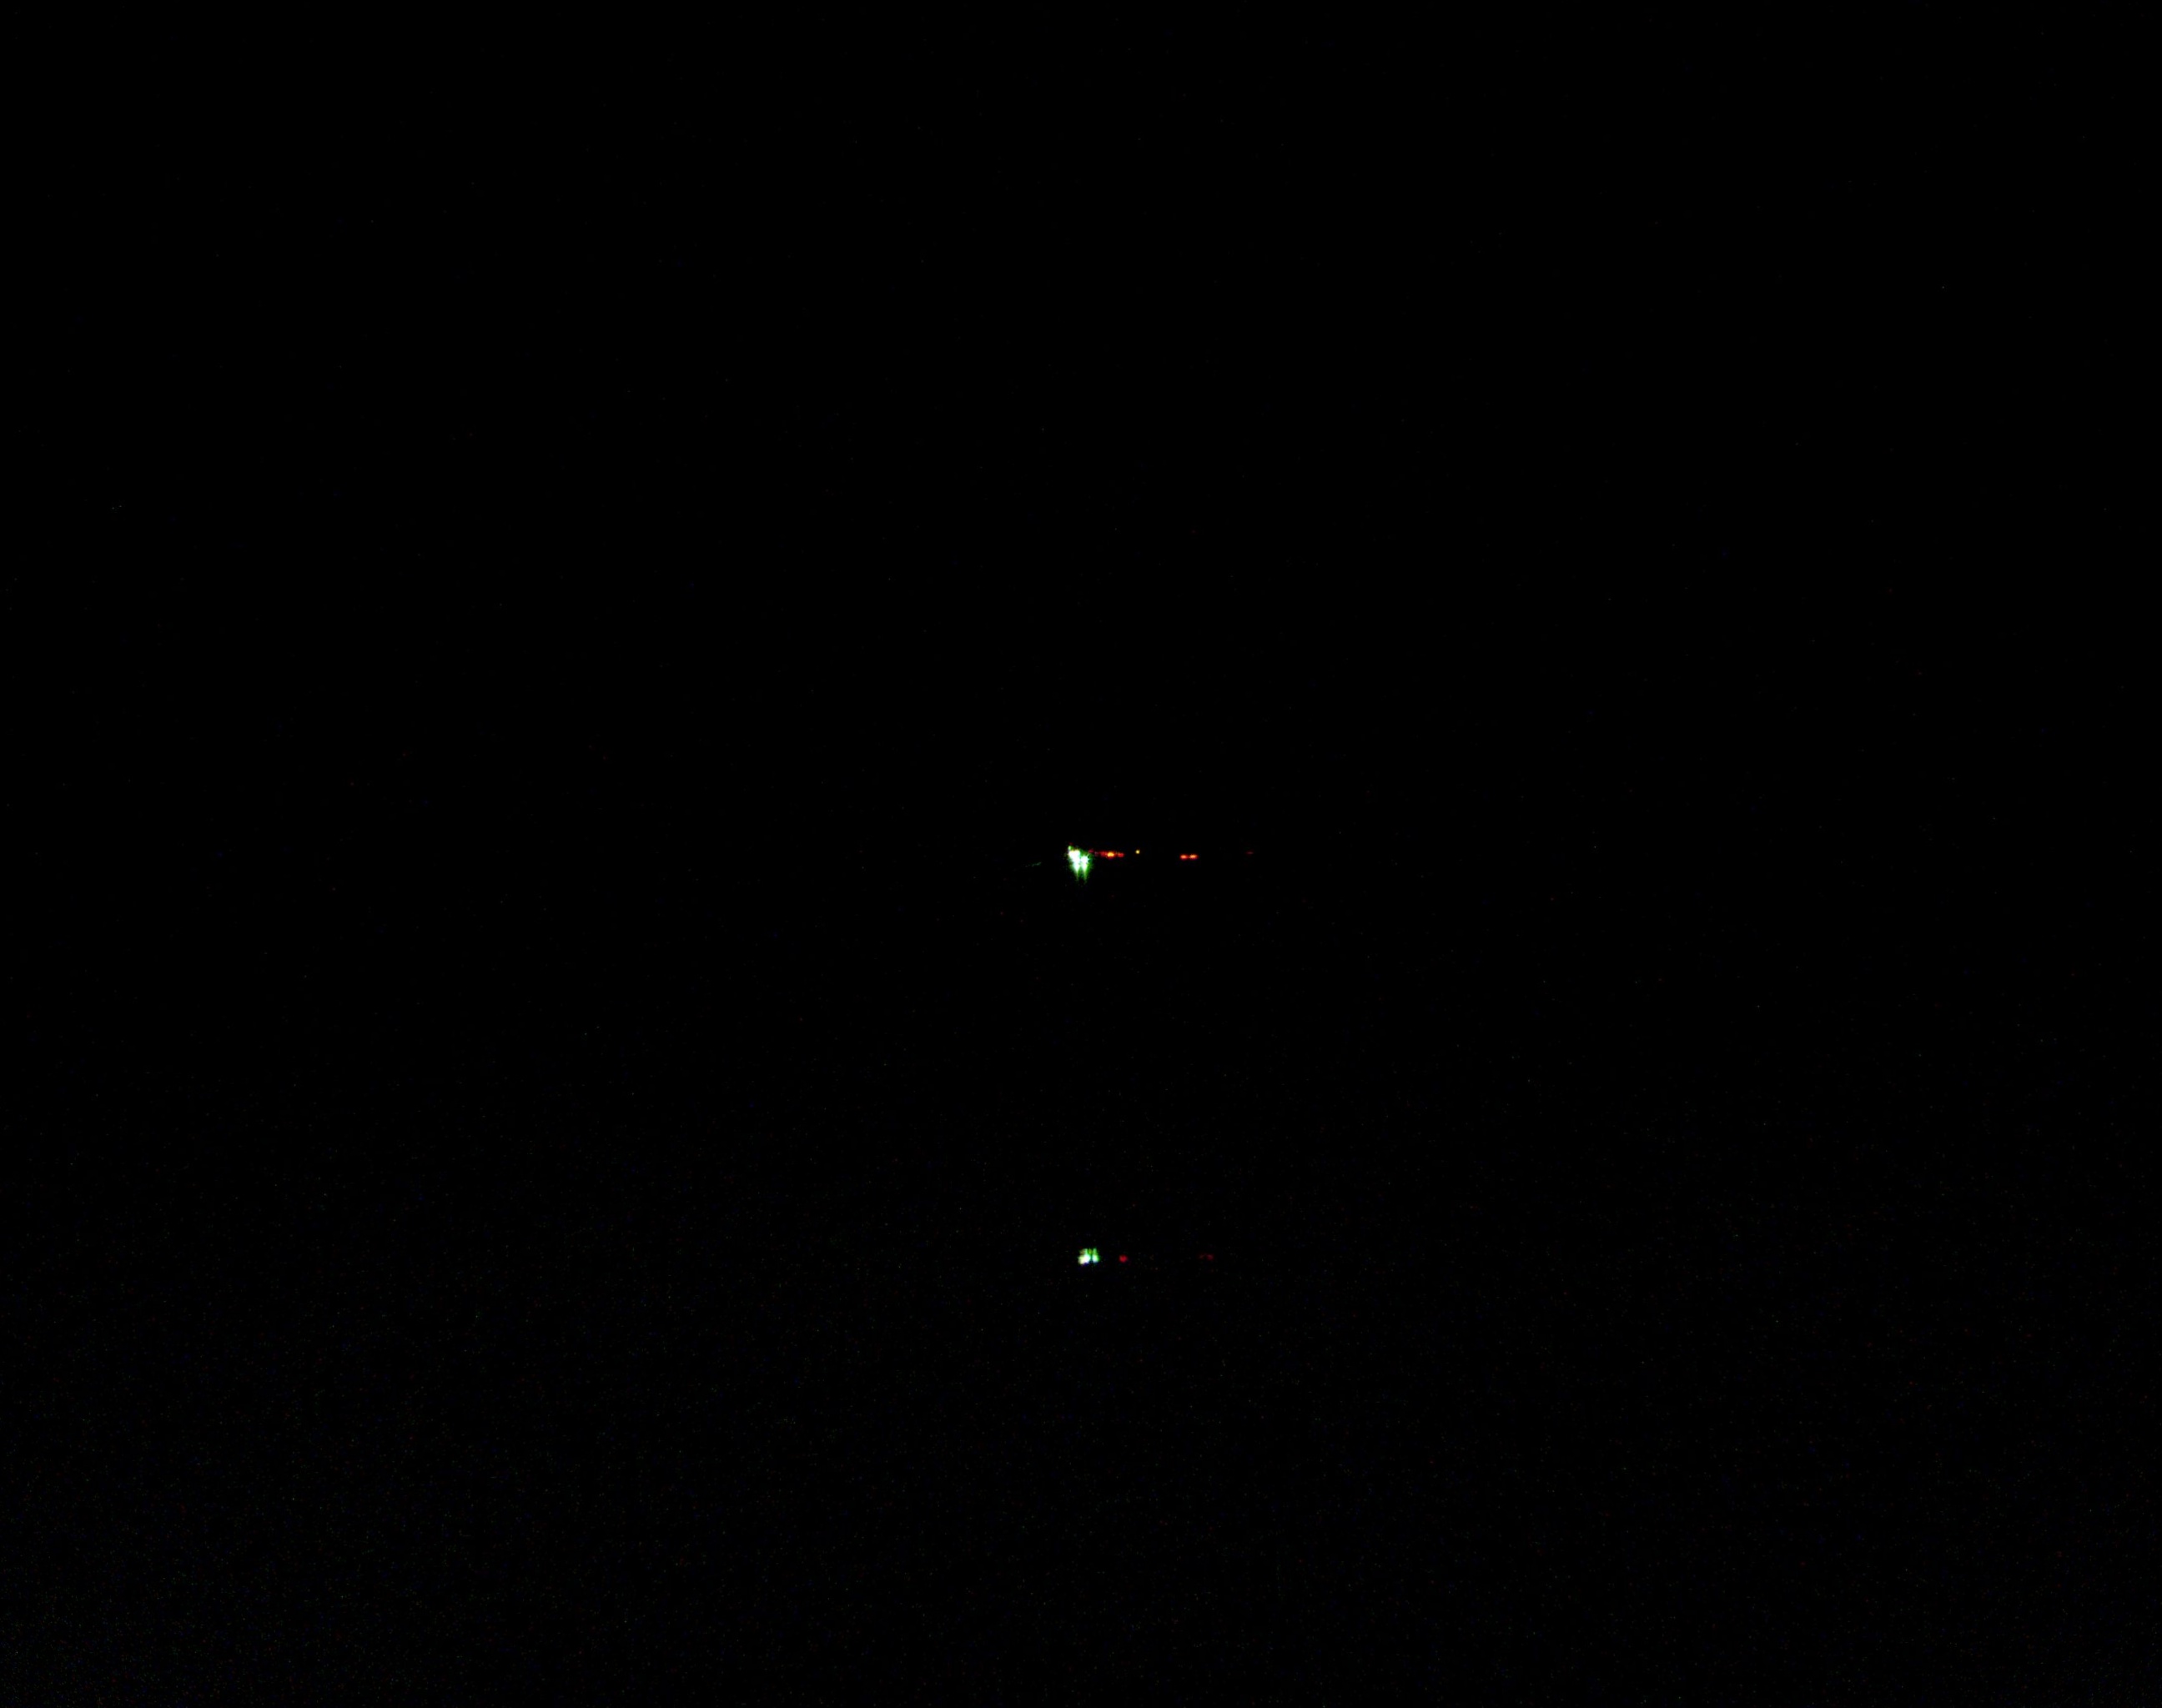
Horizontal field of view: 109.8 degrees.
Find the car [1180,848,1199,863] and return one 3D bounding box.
[{"bbox_3d":[15.862,0.206,111.135,1.999,2.002,4.604,-2,1,-1],"label":"car"}]

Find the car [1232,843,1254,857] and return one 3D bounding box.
[{"bbox_3d":[22.909,-0.574,107.495,1.999,1.767,5.088,-2,1,0],"label":"car"}]

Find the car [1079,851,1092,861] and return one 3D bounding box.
[{"bbox_3d":[0.809,0.407,131.159,2.154,1.558,4.580,-2,1,0],"label":"car"}]
